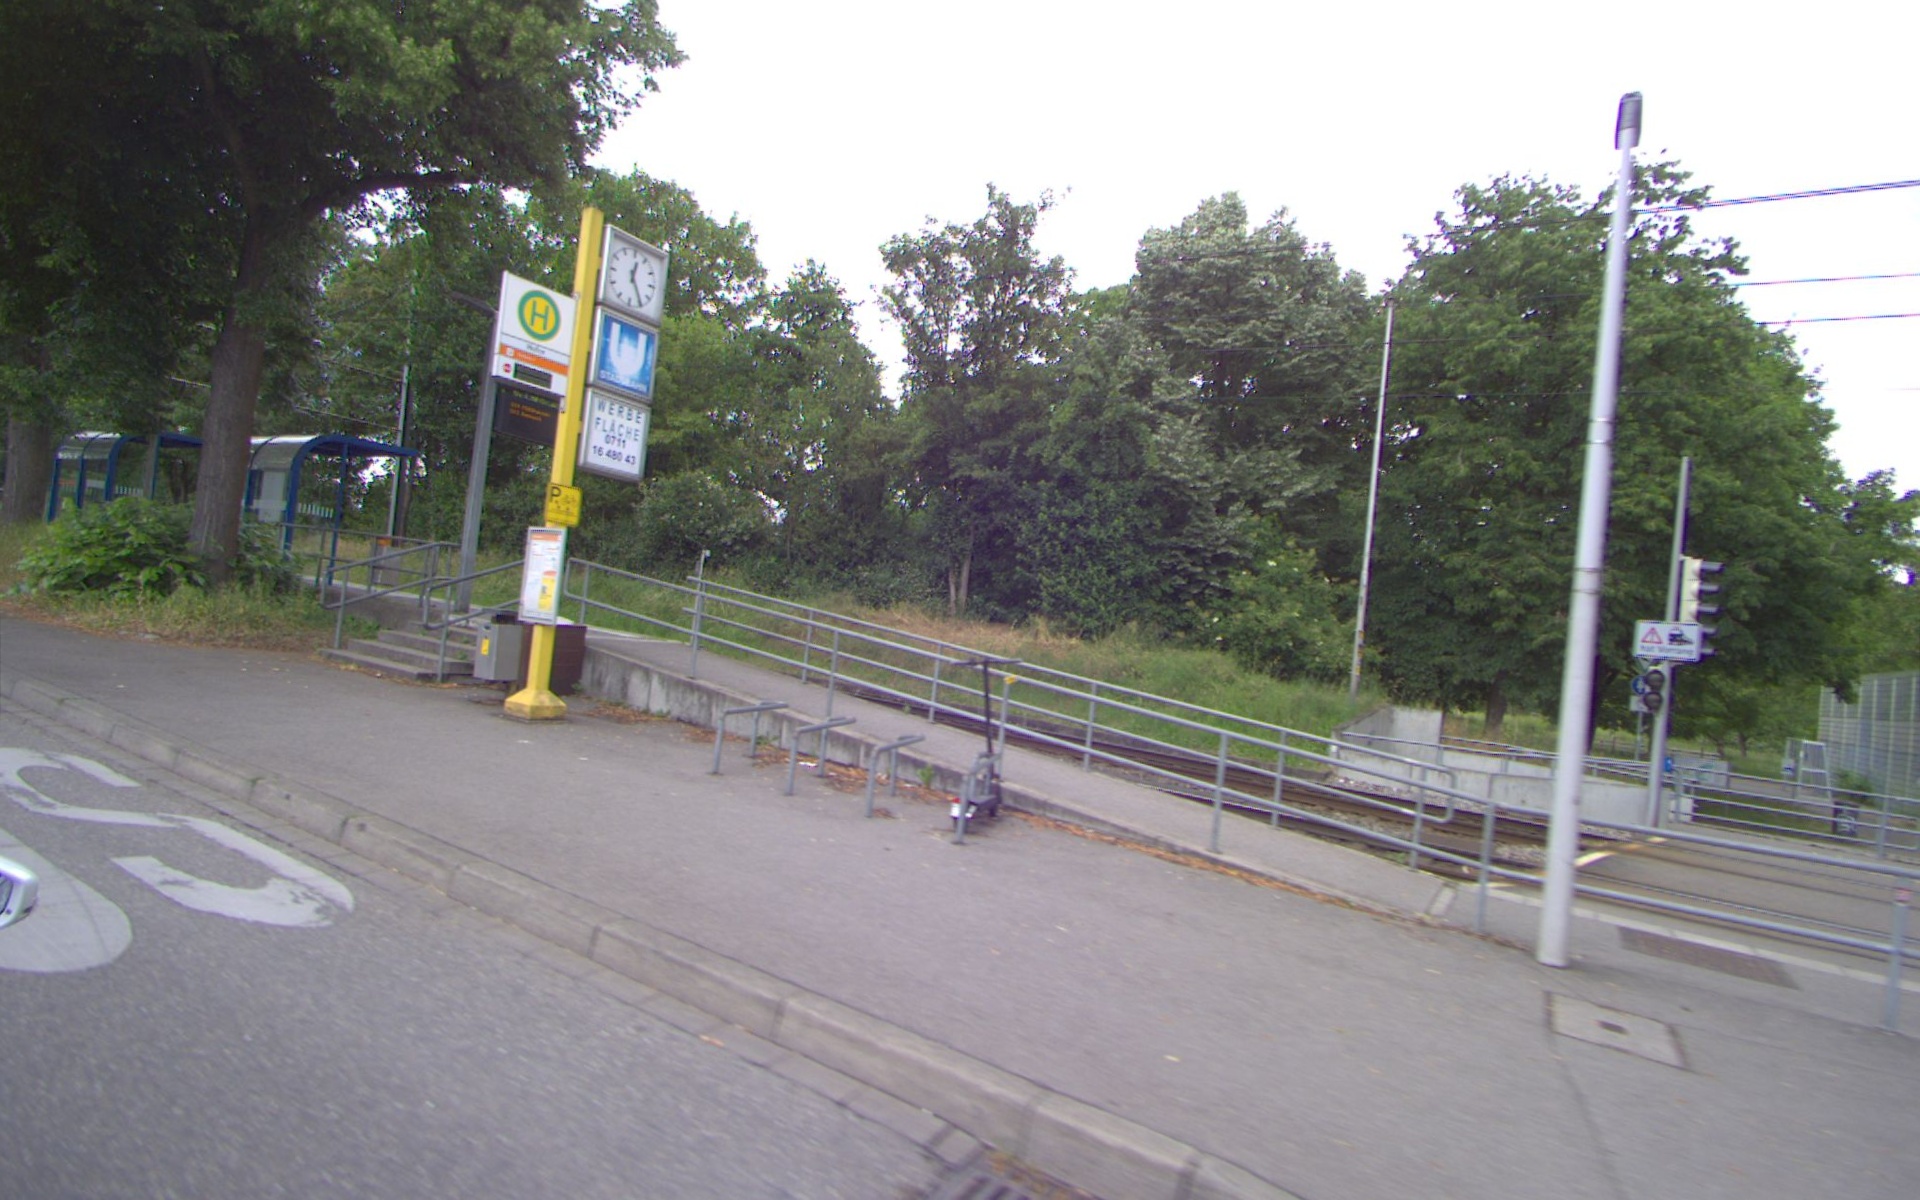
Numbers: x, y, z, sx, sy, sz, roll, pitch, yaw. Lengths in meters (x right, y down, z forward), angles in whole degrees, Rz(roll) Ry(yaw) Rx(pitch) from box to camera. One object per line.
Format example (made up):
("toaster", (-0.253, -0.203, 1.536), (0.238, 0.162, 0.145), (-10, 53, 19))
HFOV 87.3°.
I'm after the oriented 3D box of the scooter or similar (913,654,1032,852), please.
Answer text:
("scooter or similar", (0.135, 1.072, 7.470), (0.475, 1.257, 1.460), (8, -2, 11))
